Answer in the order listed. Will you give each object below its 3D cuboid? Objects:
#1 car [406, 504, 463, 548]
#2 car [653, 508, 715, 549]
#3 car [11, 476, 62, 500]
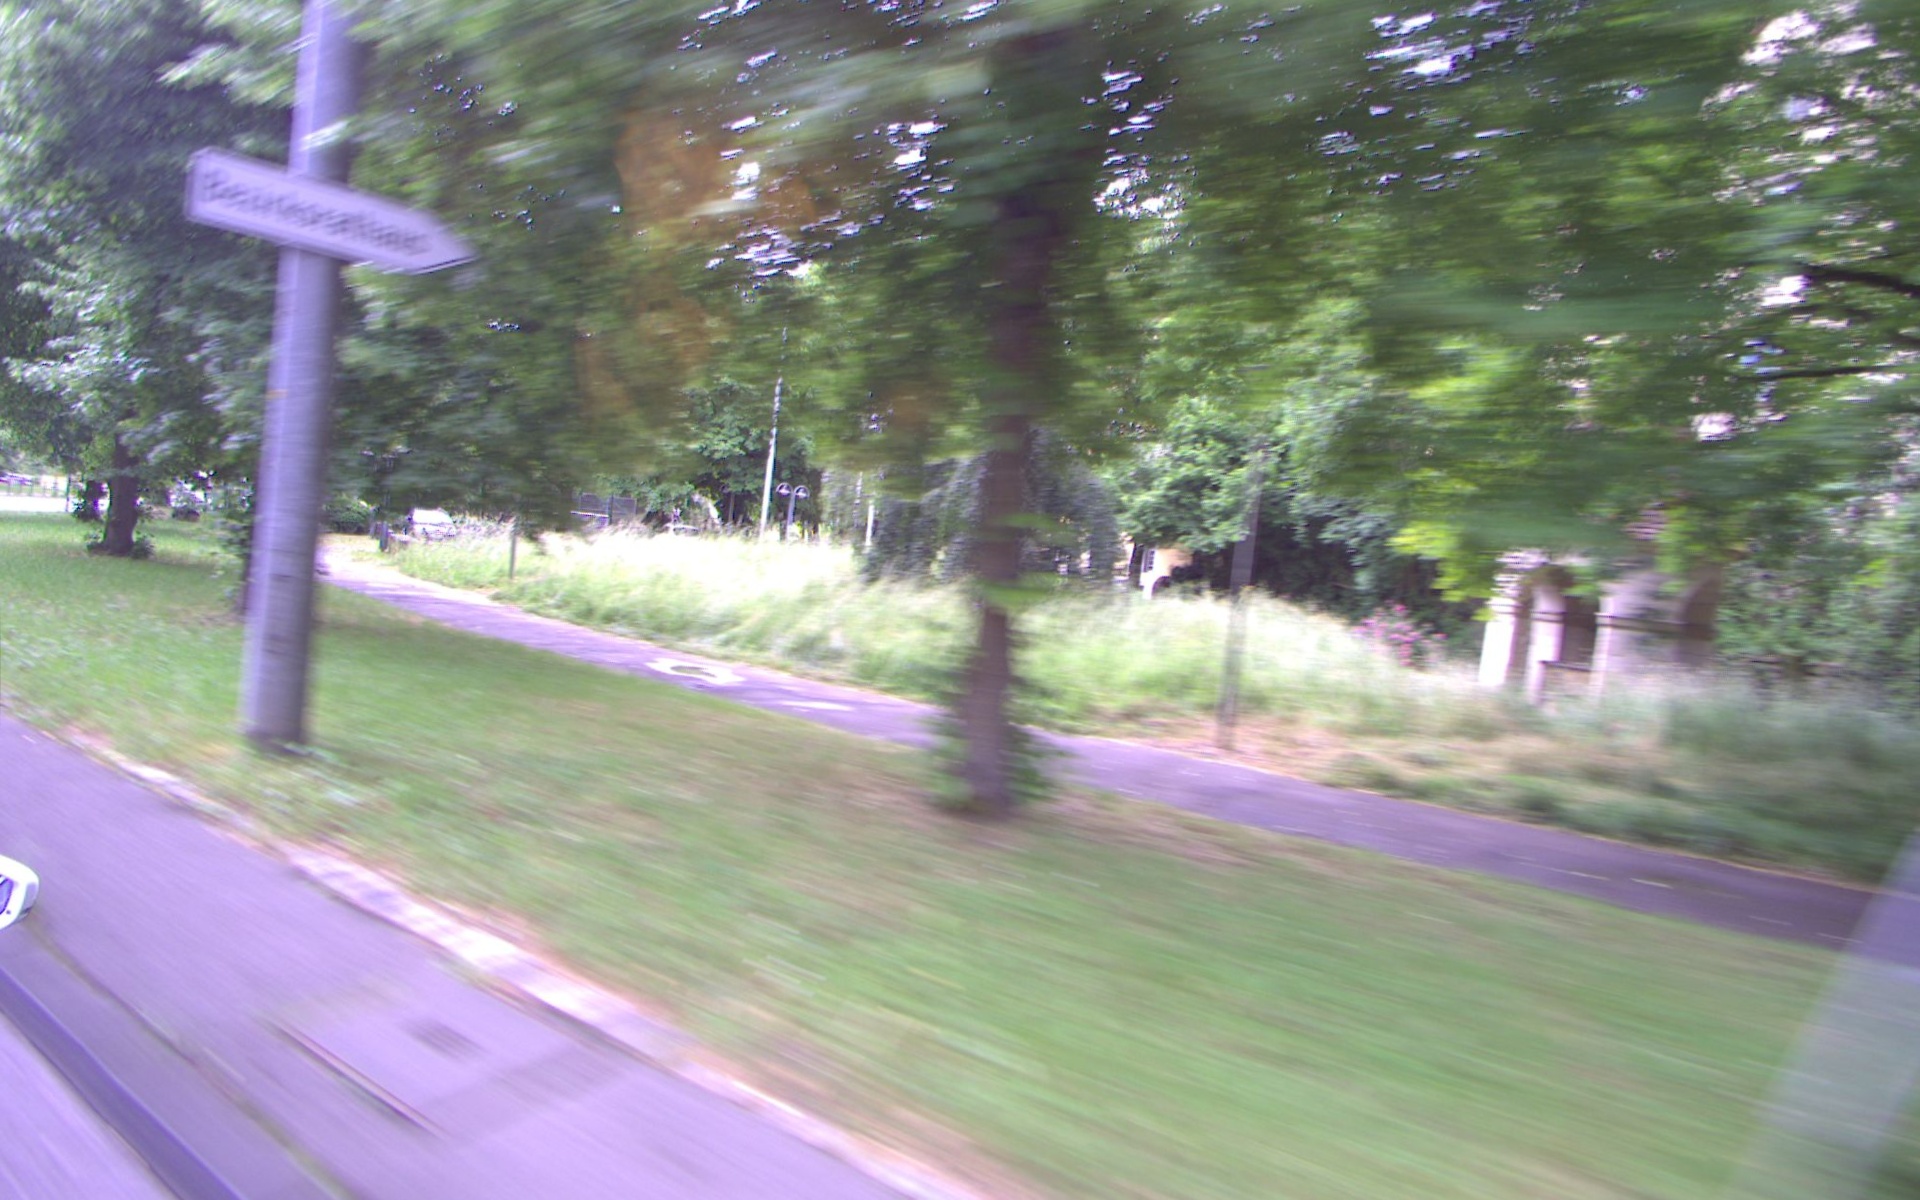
[{"bbox_3d":[-22.363,-3.162,42.706,1.890,1.451,4.426,4,5,-31],"label":"car"},{"bbox_3d":[-13.668,-3.538,49.671,1.976,1.675,3.964,1,6,-30],"label":"car"},{"bbox_3d":[-77.732,-9.396,84.725,1.901,1.718,3.975,4,2,-24],"label":"car"}]
